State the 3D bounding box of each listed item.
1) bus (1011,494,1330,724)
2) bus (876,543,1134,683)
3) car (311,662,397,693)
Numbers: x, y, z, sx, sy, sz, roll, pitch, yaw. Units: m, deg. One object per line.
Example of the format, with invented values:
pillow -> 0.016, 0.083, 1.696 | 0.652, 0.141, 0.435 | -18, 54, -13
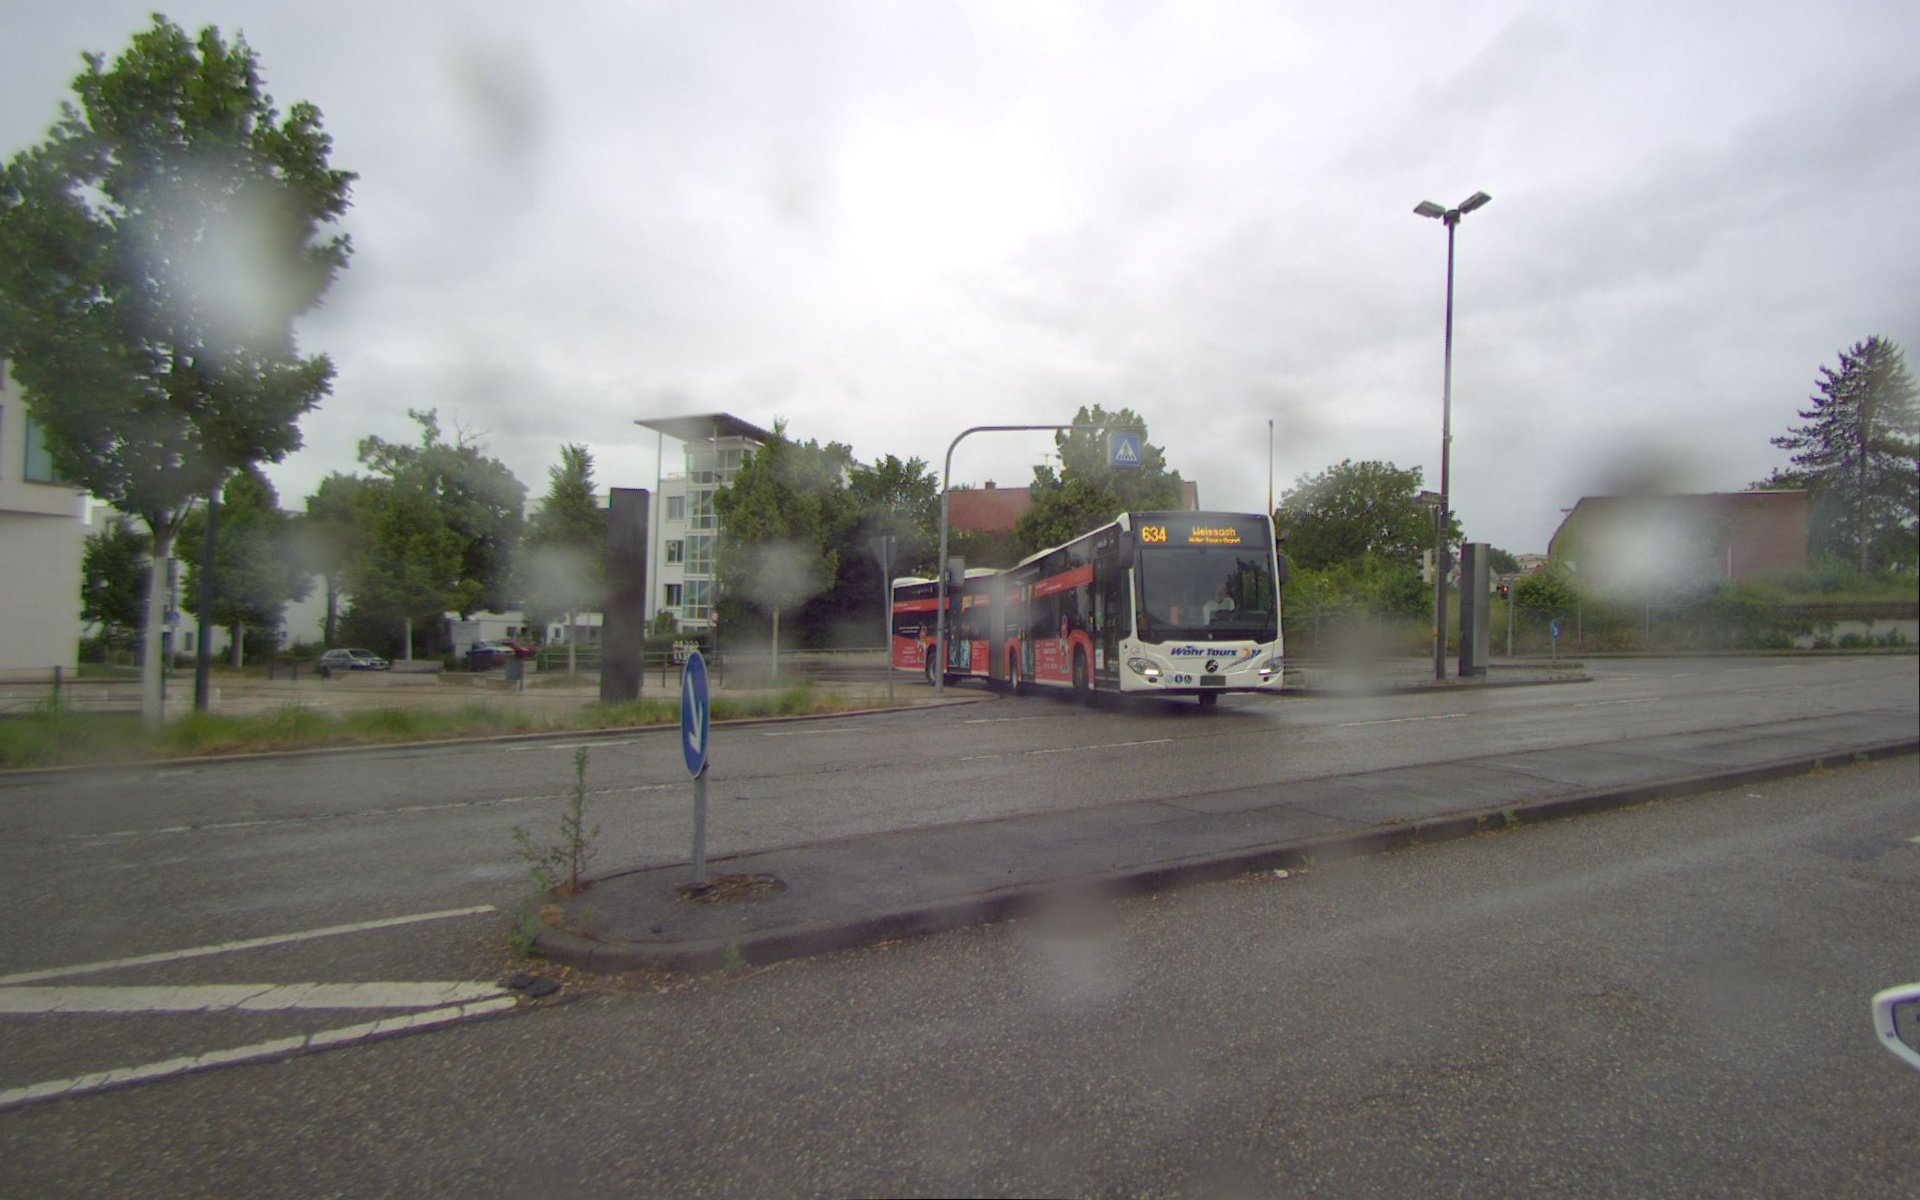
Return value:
bus -> 3.190, 0.258, 18.369 | 2.750, 3.155, 8.871 | 1, -2, -9
bus -> 0.788, 0.409, 27.424 | 2.751, 3.155, 9.302 | 1, -2, -28
car -> -31.272, 3.985, 51.865 | 3.920, 1.486, 1.587 | 0, -2, 17
